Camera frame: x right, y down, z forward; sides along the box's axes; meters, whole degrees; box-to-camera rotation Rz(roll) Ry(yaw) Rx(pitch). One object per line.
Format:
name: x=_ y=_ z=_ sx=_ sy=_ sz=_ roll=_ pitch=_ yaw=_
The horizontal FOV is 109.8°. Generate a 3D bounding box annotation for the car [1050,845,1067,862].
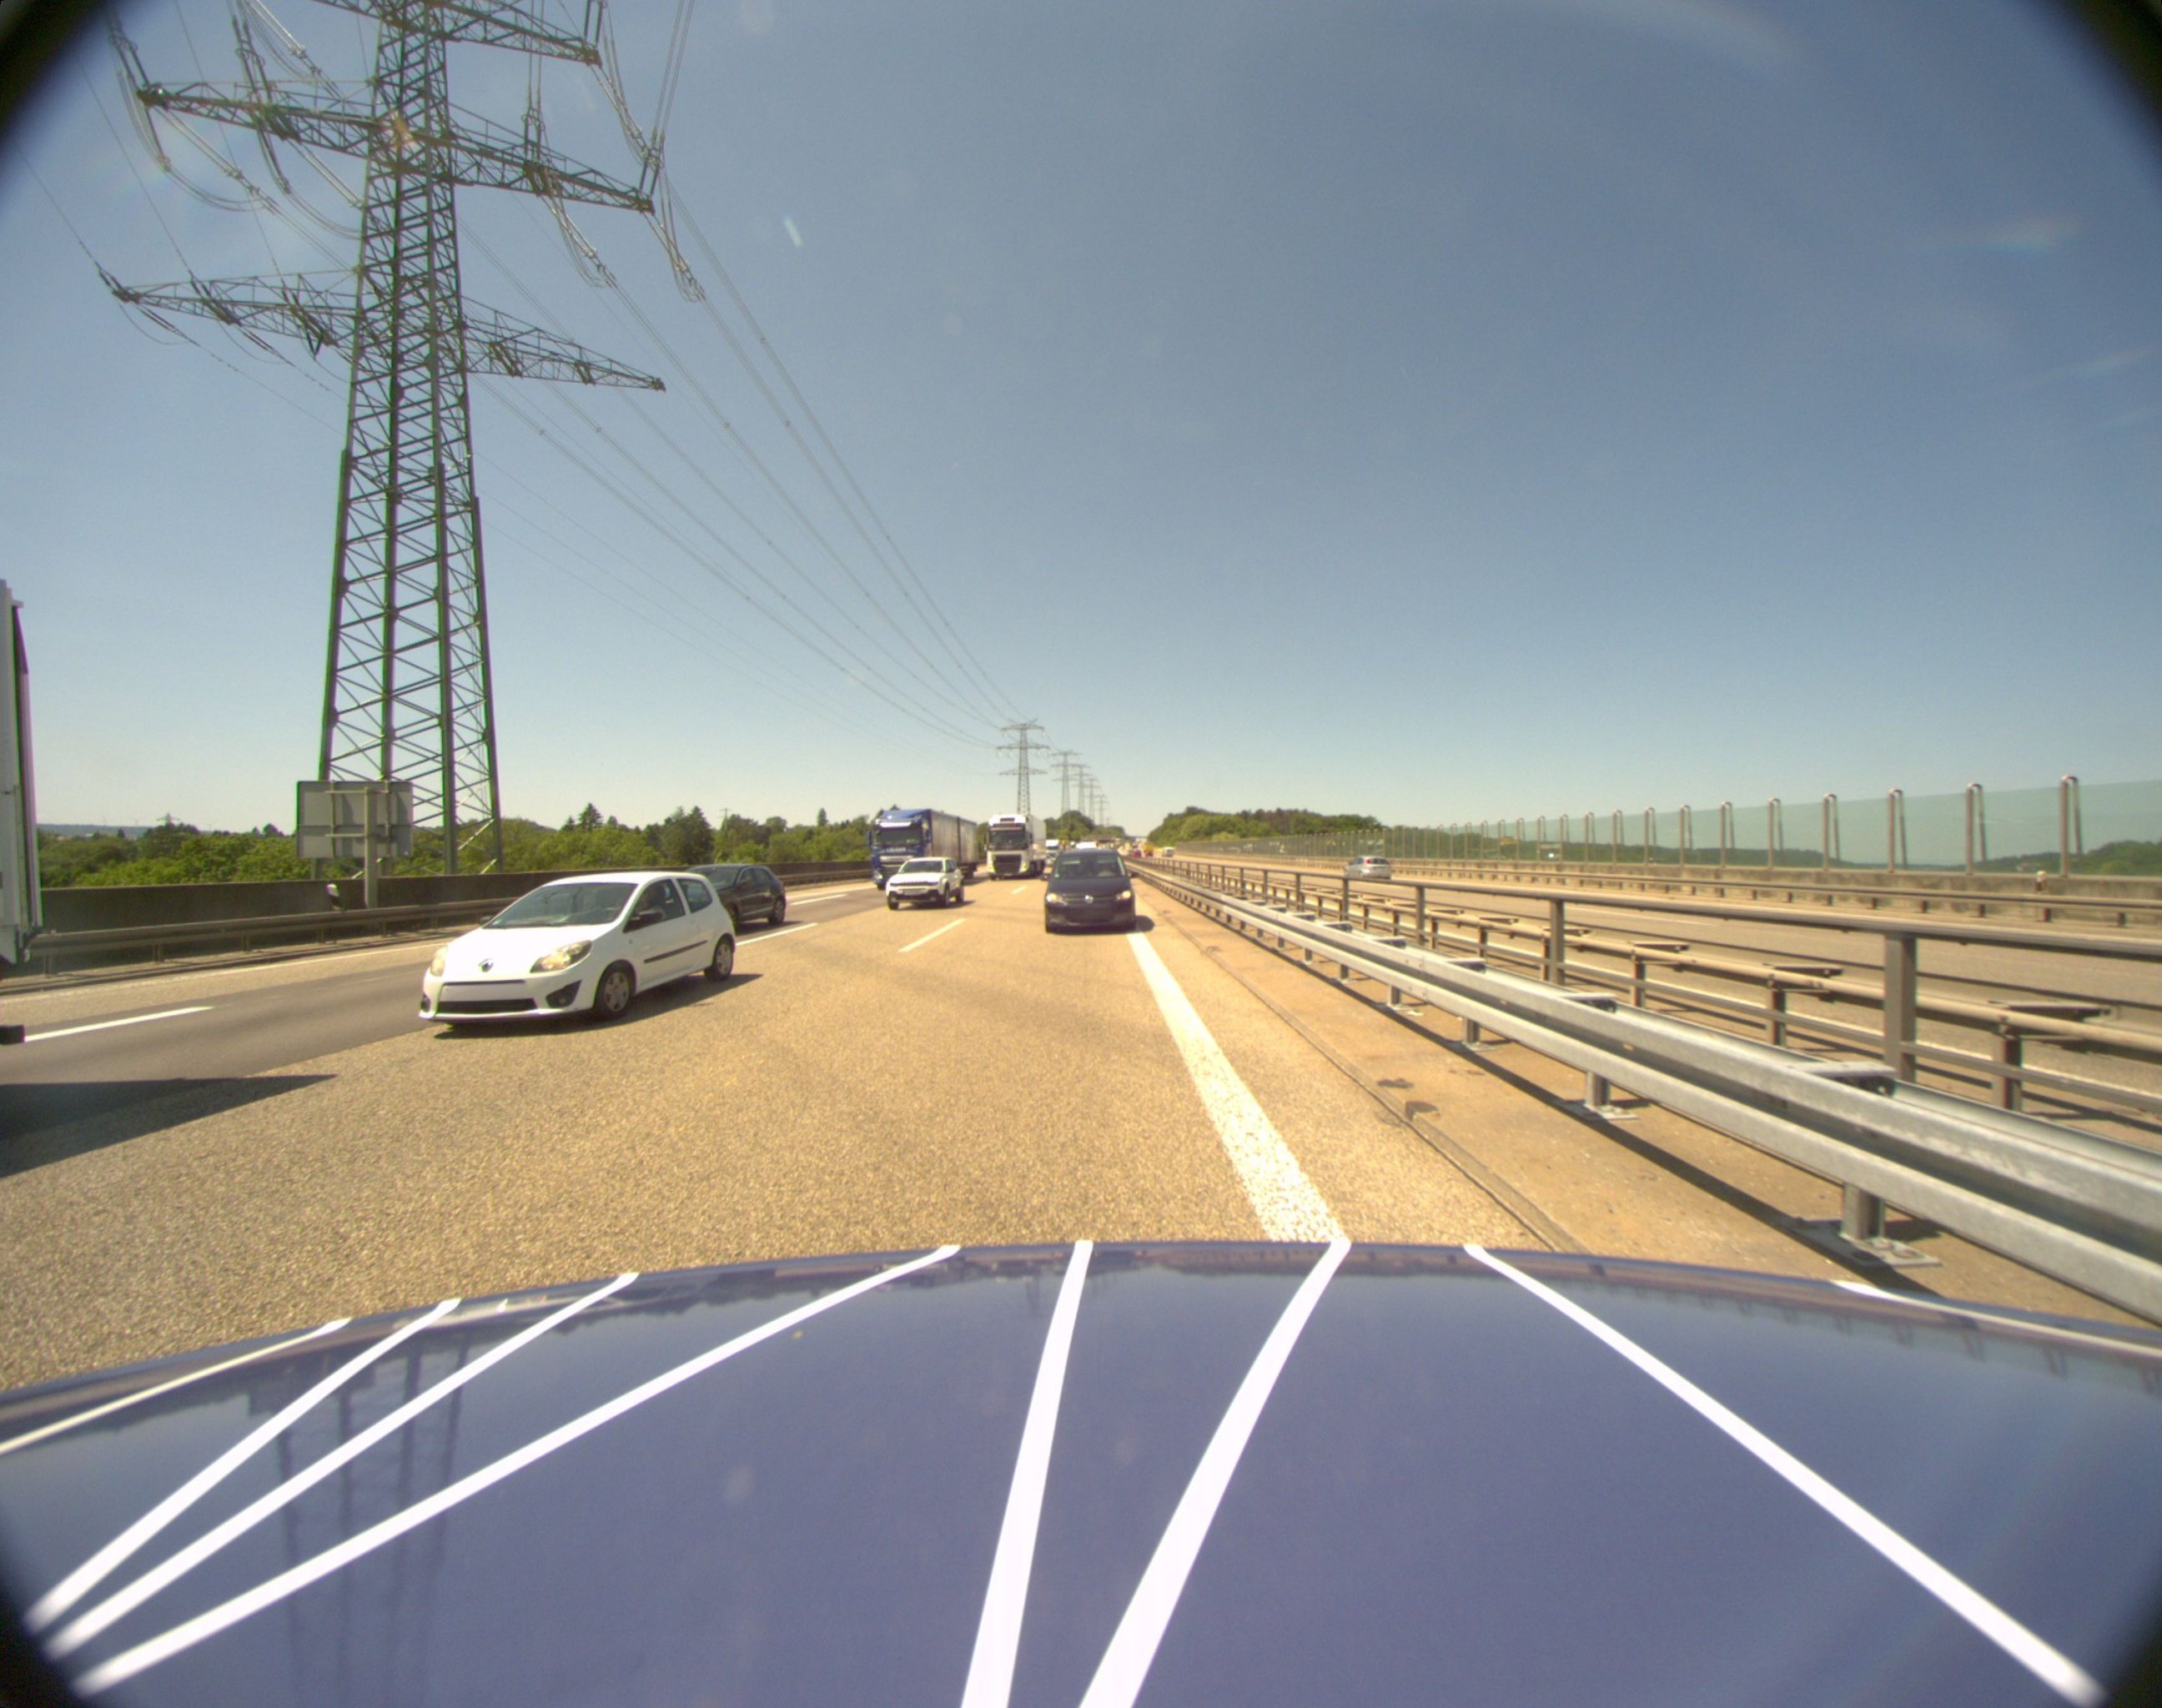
car: x=-2.531 y=-0.026 z=84.729 sx=1.672 sy=1.761 sz=3.846 roll=-2 pitch=1 yaw=1

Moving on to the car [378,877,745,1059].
car: x=-5.422 y=1.071 z=8.582 sx=1.584 sy=1.432 sz=3.629 roll=-2 pitch=1 yaw=0

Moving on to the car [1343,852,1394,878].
car: x=16.774 y=0.619 z=44.504 sx=1.608 sy=1.386 sz=3.676 roll=1 pitch=1 yaw=1

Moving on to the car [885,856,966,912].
car: x=-4.795 y=0.884 z=23.949 sx=1.722 sy=1.526 sz=3.753 roll=-2 pitch=0 yaw=0

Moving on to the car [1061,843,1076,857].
car: x=-1.914 y=-0.622 z=117.445 sx=1.998 sy=2.002 sz=3.999 roll=-2 pitch=1 yaw=1

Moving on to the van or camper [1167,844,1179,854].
van or camper: x=21.104 y=-1.240 z=174.870 sx=1.998 sy=2.199 sz=5.536 roll=1 pitch=1 yaw=0

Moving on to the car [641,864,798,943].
car: x=-8.234 y=1.056 z=17.713 sx=1.709 sy=1.497 sz=3.888 roll=-2 pitch=1 yaw=1

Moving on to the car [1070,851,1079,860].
car: x=-1.332 y=0.280 z=150.864 sx=1.701 sy=1.599 sz=3.639 roll=-2 pitch=1 yaw=1

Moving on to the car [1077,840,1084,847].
car: x=-0.227 y=-2.991 z=219.162 sx=1.890 sy=2.002 sz=3.999 roll=-2 pitch=1 yaw=1

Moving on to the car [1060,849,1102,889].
car: x=0.016 y=0.606 z=33.475 sx=1.685 sy=1.607 sz=3.642 roll=-2 pitch=0 yaw=0

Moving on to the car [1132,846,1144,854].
car: x=11.221 y=-0.842 z=149.760 sx=1.846 sy=1.438 sz=4.418 roll=-2 pitch=1 yaw=1

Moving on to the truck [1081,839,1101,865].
truck: x=1.124 y=-0.278 z=83.900 sx=2.100 sy=2.700 sz=5.864 roll=-2 pitch=1 yaw=1

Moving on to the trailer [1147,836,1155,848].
trailer: x=23.894 y=-4.081 z=259.200 sx=2.427 sy=4.040 sz=13.806 roll=0 pitch=1 yaw=6

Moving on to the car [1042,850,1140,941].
car: x=0.188 y=0.762 z=15.925 sx=1.739 sy=1.607 sz=3.911 roll=-2 pitch=0 yaw=0

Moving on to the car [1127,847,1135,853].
car: x=13.467 y=-1.122 z=203.862 sx=1.845 sy=1.520 sz=3.558 roll=-1 pitch=0 yaw=1

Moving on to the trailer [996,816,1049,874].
trailer: x=-4.161 y=-0.687 z=56.288 sx=2.898 sy=3.847 sz=9.773 roll=-2 pitch=1 yaw=1

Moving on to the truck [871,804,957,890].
truck: x=-8.500 y=-0.331 z=39.657 sx=2.517 sy=3.945 sz=7.926 roll=-2 pitch=0 yaw=1

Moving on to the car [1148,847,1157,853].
car: x=17.024 y=-0.923 z=180.400 sx=1.805 sy=1.378 sz=4.262 roll=0 pitch=1 yaw=1

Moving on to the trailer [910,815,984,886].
trailer: x=-8.386 y=-0.291 z=49.083 sx=2.543 sy=3.971 sz=10.883 roll=-2 pitch=1 yaw=1

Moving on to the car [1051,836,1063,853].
car: x=-4.965 y=-2.056 z=157.645 sx=2.273 sy=3.304 sz=6.288 roll=-2 pitch=1 yaw=0

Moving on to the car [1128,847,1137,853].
car: x=12.331 y=-1.001 z=180.832 sx=1.901 sy=1.307 sz=4.371 roll=0 pitch=1 yaw=1

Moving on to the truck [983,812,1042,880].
truck: x=-4.208 y=-0.534 z=48.022 sx=2.914 sy=3.870 sz=6.739 roll=-2 pitch=1 yaw=0

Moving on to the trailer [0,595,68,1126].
trailer: x=-8.680 y=0.107 z=1.213 sx=2.852 sy=3.574 sz=8.290 roll=-2 pitch=0 yaw=0

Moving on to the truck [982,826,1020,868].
truck: x=-7.961 y=-0.731 z=76.523 sx=2.914 sy=3.870 sz=6.739 roll=-2 pitch=1 yaw=0
